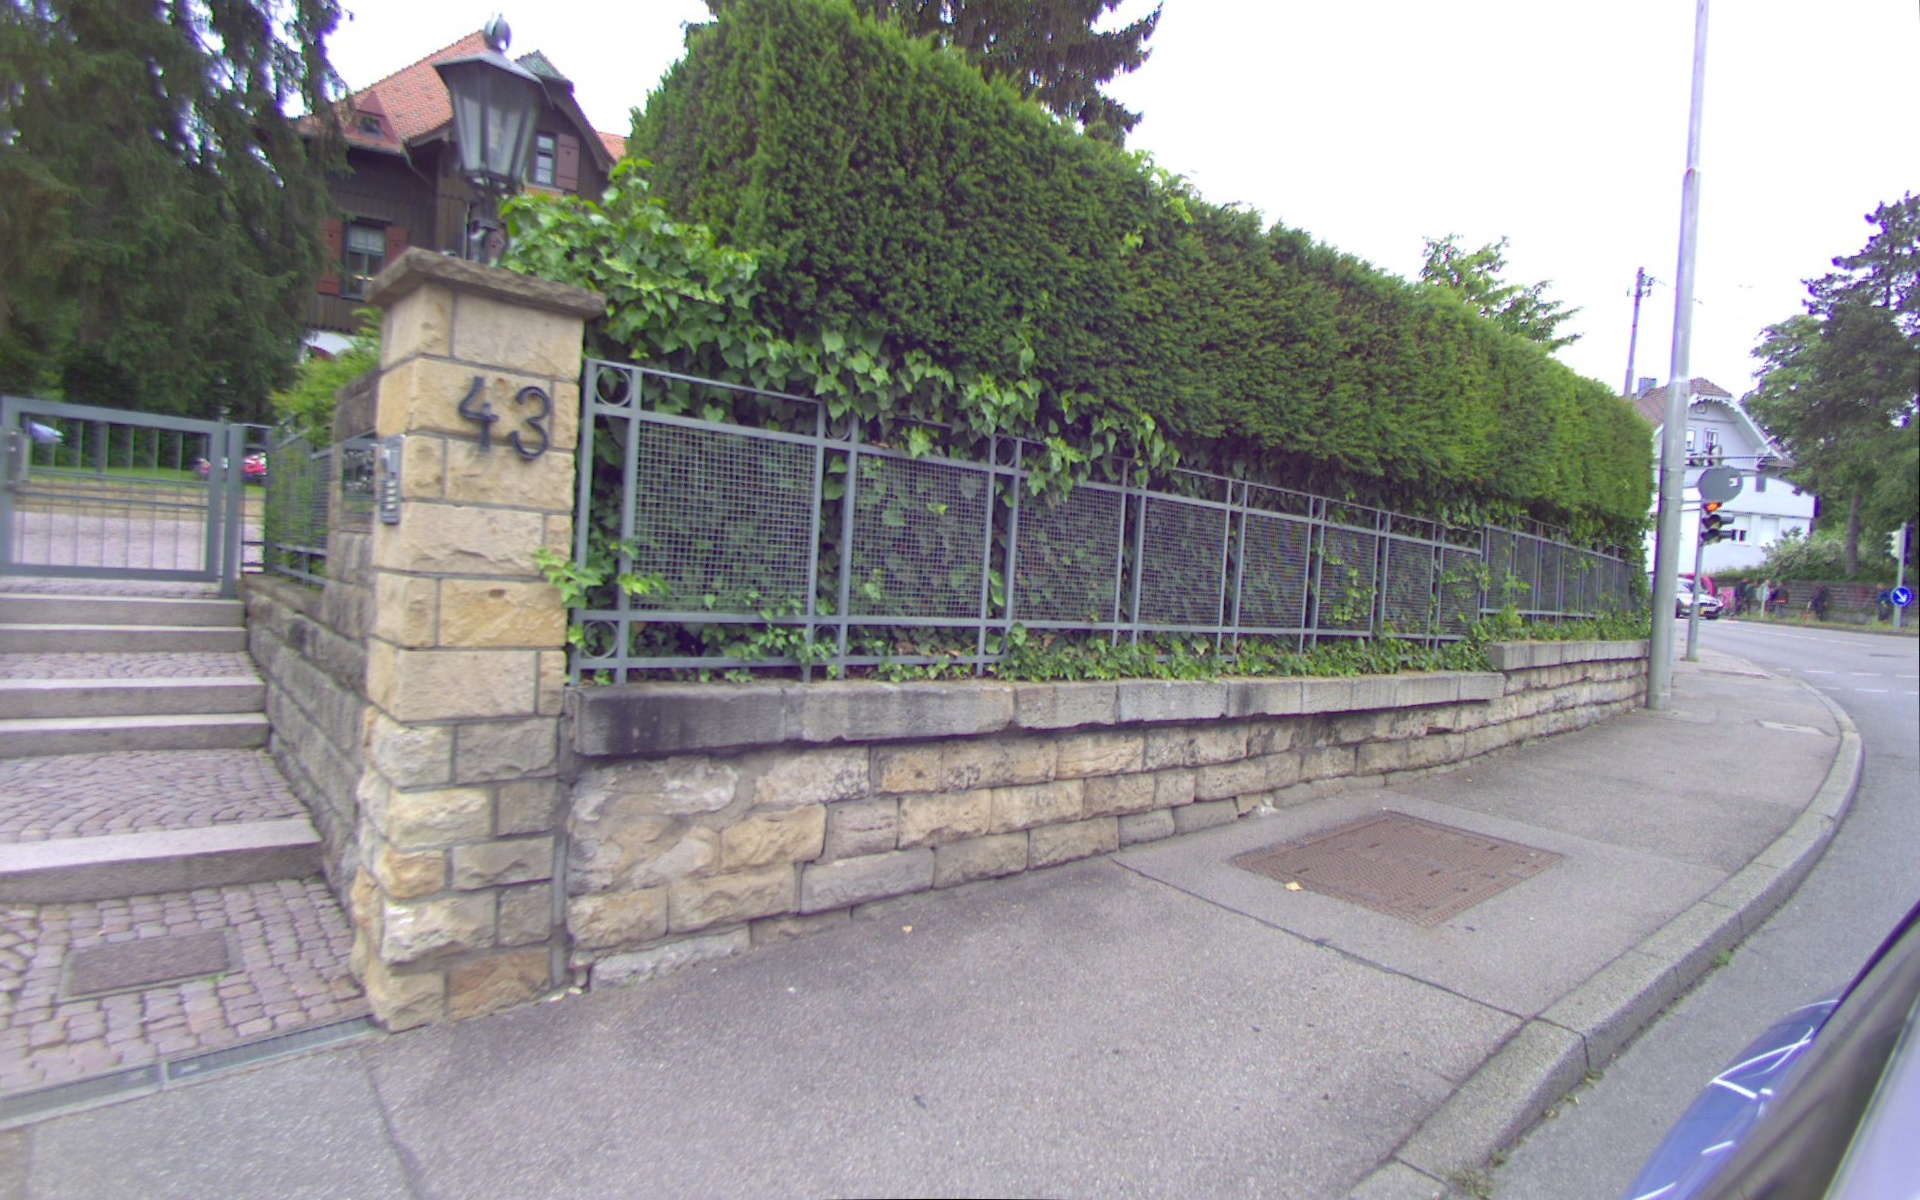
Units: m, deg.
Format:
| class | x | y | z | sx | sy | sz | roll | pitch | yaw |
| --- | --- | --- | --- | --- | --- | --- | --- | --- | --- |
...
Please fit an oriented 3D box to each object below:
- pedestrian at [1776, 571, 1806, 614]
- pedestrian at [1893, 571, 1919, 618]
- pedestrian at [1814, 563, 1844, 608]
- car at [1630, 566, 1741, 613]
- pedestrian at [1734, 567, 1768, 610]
| class | x | y | z | sx | sy | sz | roll | pitch | yaw |
| --- | --- | --- | --- | --- | --- | --- | --- | --- | --- |
| pedestrian | 36.264 | -0.351 | 44.152 | 0.600 | 1.809 | 0.668 | 3 | 3 | -13 |
| pedestrian | 38.158 | -0.223 | 40.644 | 0.664 | 1.857 | 0.614 | 3 | 3 | -14 |
| pedestrian | 37.463 | -0.632 | 43.630 | 0.591 | 1.857 | 0.614 | 3 | 3 | -14 |
| car | 28.089 | -0.442 | 39.322 | 1.589 | 1.599 | 3.998 | 2 | 3 | 5 |
| pedestrian | 35.528 | -0.531 | 45.468 | 0.862 | 1.836 | 0.690 | 2 | 3 | -12 |
